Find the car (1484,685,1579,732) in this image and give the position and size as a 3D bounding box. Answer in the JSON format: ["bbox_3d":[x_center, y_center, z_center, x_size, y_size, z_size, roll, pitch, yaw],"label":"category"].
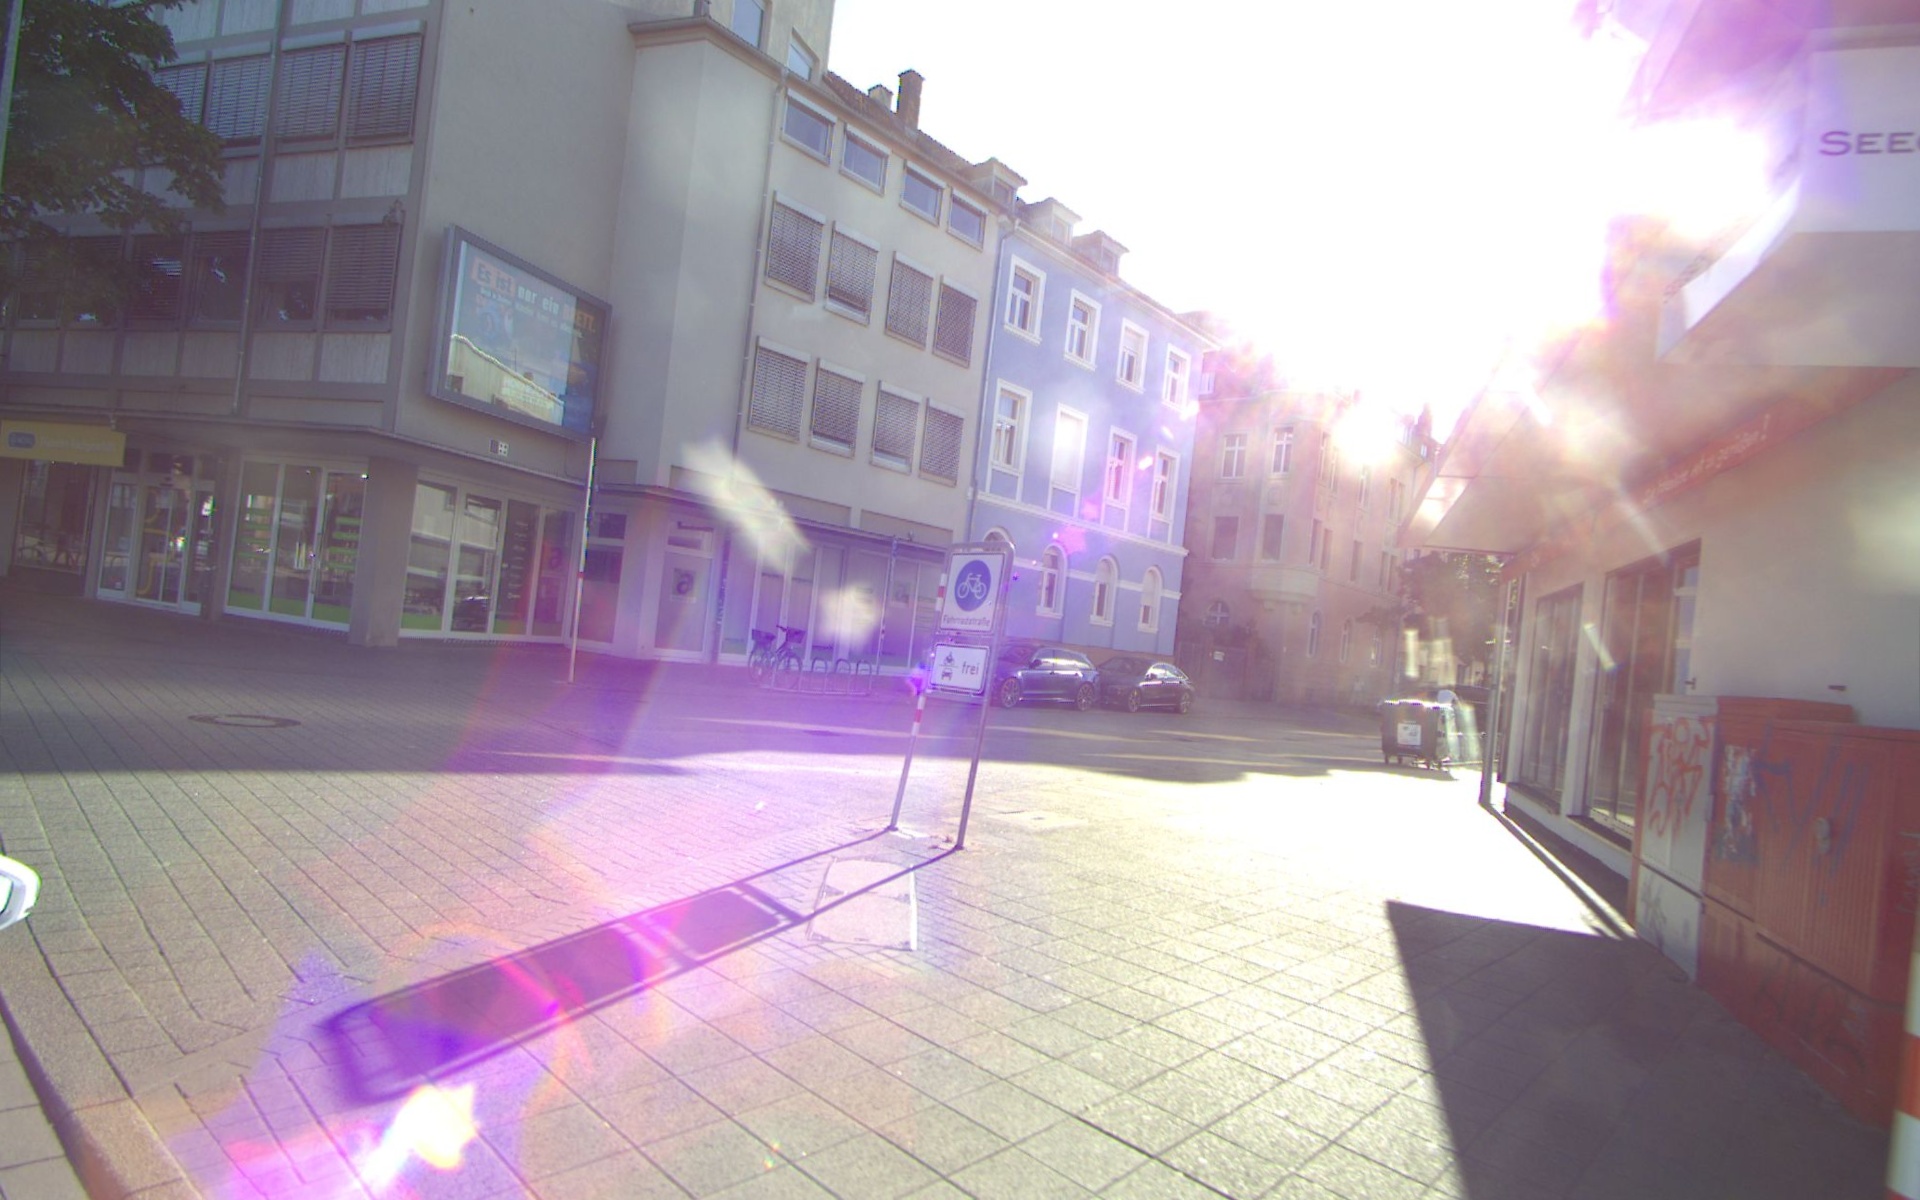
[{"bbox_3d":[31.359,5.943,55.237,4.052,1.746,1.873,10,1,43],"label":"car"}]

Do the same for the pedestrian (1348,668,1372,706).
[{"bbox_3d":[18.400,4.007,46.287,0.742,1.634,0.800,5,-1,35],"label":"pedestrian"}]

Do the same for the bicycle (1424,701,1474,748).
[{"bbox_3d":[12.781,3.266,26.288,1.537,1.100,0.552,8,1,-45],"label":"bicycle"}]

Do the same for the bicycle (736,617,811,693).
[{"bbox_3d":[-3.522,1.021,18.937,1.481,1.174,0.440,10,1,42],"label":"bicycle"}]

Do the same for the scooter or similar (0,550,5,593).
[{"bbox_3d":[-12.591,-0.146,12.508,0.157,1.056,0.966,6,-1,25],"label":"scooter or similar"}]

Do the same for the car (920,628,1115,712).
[{"bbox_3d":[1.467,1.709,23.860,1.856,1.450,4.805,10,1,43],"label":"car"}]

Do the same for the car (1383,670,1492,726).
[{"bbox_3d":[22.506,4.614,47.464,4.117,1.825,1.875,10,1,40],"label":"car"}]

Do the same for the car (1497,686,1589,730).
[{"bbox_3d":[33.486,6.204,57.845,4.052,1.746,1.873,10,1,43],"label":"car"}]

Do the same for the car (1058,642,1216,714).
[{"bbox_3d":[4.981,2.186,27.825,1.856,1.450,4.805,10,1,43],"label":"car"}]

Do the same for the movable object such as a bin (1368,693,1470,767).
[{"bbox_3d":[9.568,2.694,20.971,1.399,1.304,1.642,5,-2,43],"label":"movable object such as a bin"}]

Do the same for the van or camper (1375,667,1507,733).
[{"bbox_3d":[21.238,4.381,44.594,4.675,1.973,1.883,9,1,9],"label":"van or camper"}]

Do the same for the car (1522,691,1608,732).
[{"bbox_3d":[37.390,6.896,62.224,4.052,1.746,1.873,10,1,43],"label":"car"}]

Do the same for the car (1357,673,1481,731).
[{"bbox_3d":[19.317,4.271,42.485,4.231,1.568,1.883,9,1,9],"label":"car"}]

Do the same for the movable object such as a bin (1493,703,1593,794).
[{"bbox_3d":[10.849,2.740,18.714,1.265,1.457,1.214,5,-2,43],"label":"movable object such as a bin"}]

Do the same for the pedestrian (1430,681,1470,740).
[{"bbox_3d":[12.798,2.896,26.292,0.670,1.438,0.557,7,2,-45],"label":"pedestrian"}]
